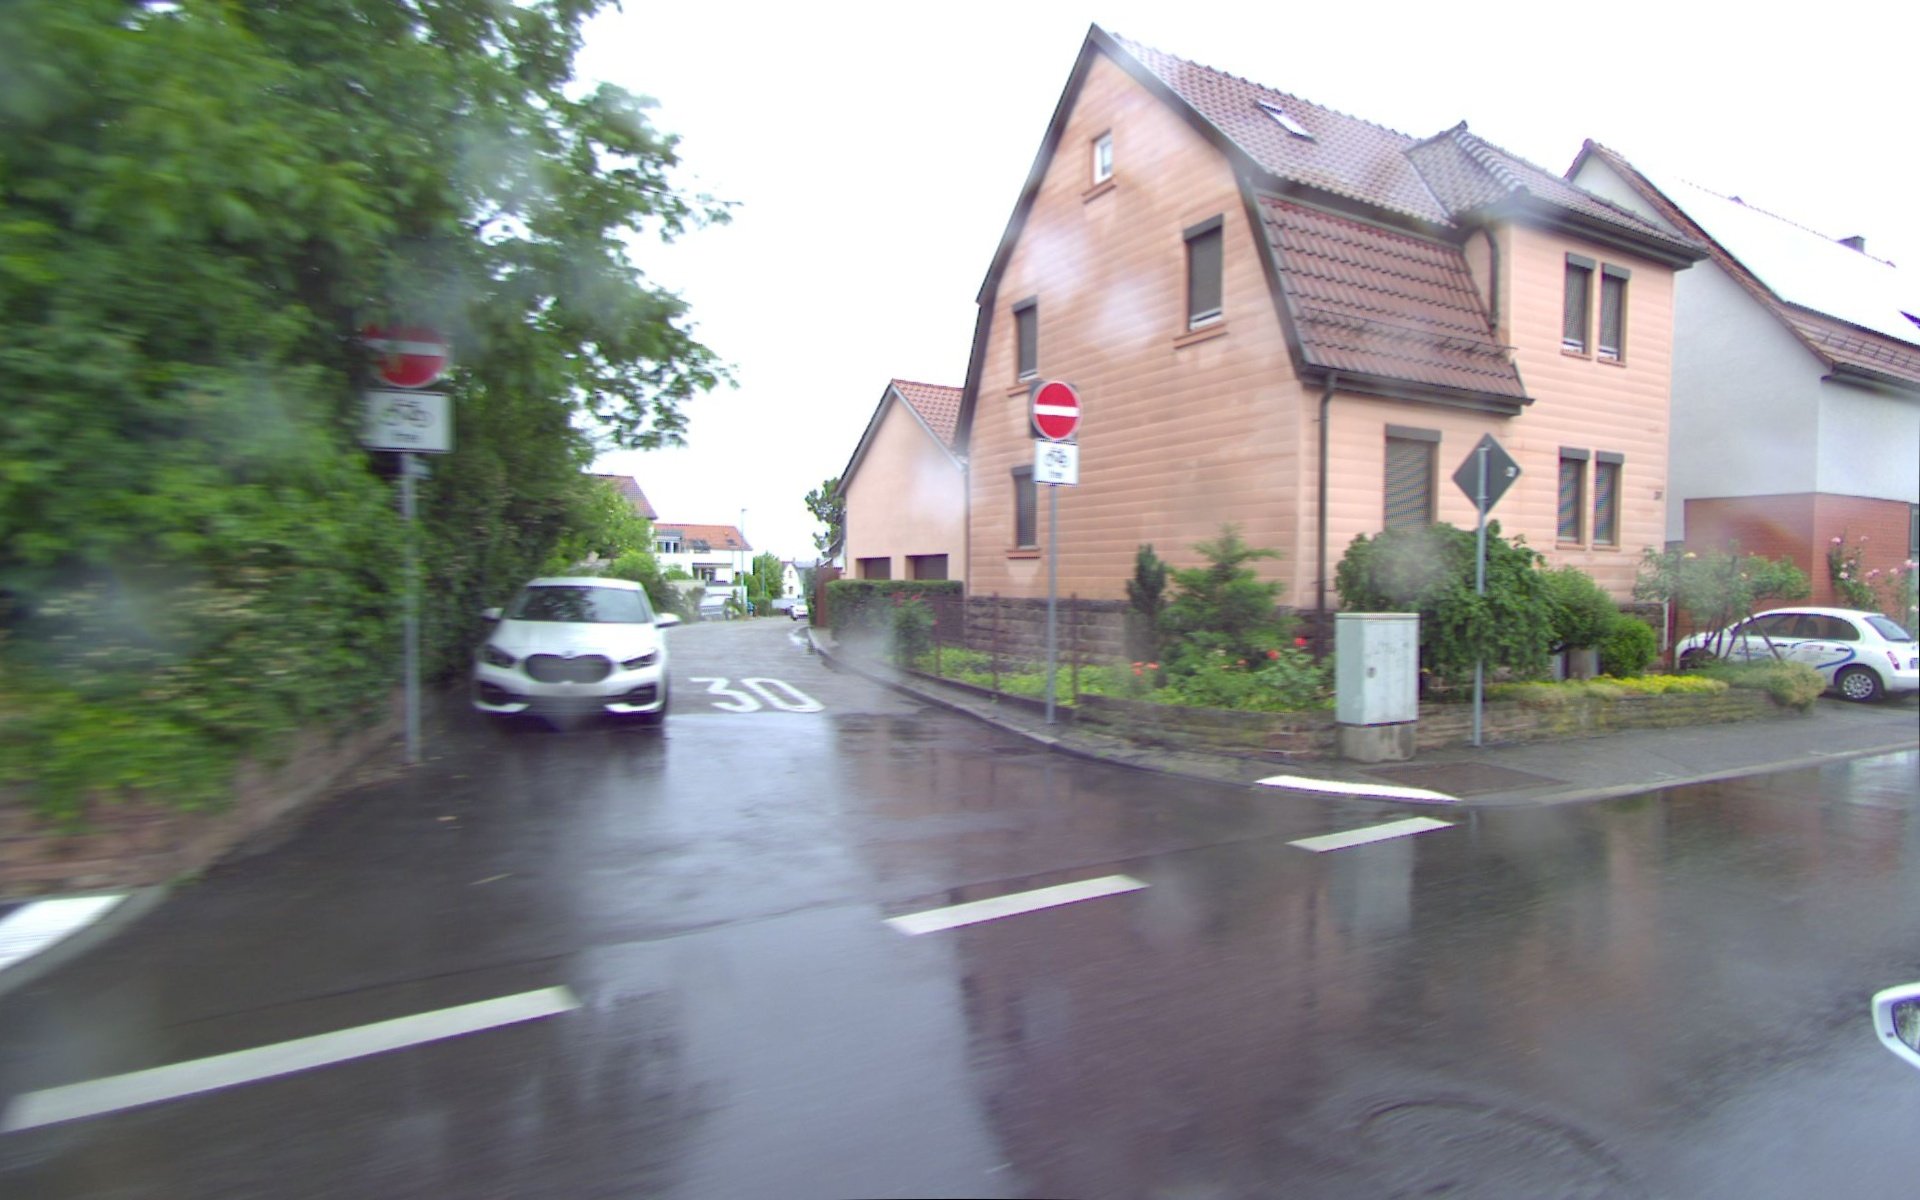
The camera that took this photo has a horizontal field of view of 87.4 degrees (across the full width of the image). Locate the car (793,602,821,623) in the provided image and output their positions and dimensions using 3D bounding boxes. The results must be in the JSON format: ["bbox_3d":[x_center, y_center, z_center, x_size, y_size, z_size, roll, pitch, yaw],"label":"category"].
[{"bbox_3d":[-10.041,0.785,65.795,1.687,1.264,3.679,2,0,-9],"label":"car"}]

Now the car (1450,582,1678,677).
[{"bbox_3d":[13.327,0.579,22.401,1.738,1.787,3.966,1,2,-31],"label":"car"}]

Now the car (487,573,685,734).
[{"bbox_3d":[-4.042,0.443,11.296,1.689,1.438,4.224,1,1,-17],"label":"car"}]

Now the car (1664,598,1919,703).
[{"bbox_3d":[15.255,0.835,18.344,1.643,1.550,3.529,1,2,-29],"label":"car"}]
